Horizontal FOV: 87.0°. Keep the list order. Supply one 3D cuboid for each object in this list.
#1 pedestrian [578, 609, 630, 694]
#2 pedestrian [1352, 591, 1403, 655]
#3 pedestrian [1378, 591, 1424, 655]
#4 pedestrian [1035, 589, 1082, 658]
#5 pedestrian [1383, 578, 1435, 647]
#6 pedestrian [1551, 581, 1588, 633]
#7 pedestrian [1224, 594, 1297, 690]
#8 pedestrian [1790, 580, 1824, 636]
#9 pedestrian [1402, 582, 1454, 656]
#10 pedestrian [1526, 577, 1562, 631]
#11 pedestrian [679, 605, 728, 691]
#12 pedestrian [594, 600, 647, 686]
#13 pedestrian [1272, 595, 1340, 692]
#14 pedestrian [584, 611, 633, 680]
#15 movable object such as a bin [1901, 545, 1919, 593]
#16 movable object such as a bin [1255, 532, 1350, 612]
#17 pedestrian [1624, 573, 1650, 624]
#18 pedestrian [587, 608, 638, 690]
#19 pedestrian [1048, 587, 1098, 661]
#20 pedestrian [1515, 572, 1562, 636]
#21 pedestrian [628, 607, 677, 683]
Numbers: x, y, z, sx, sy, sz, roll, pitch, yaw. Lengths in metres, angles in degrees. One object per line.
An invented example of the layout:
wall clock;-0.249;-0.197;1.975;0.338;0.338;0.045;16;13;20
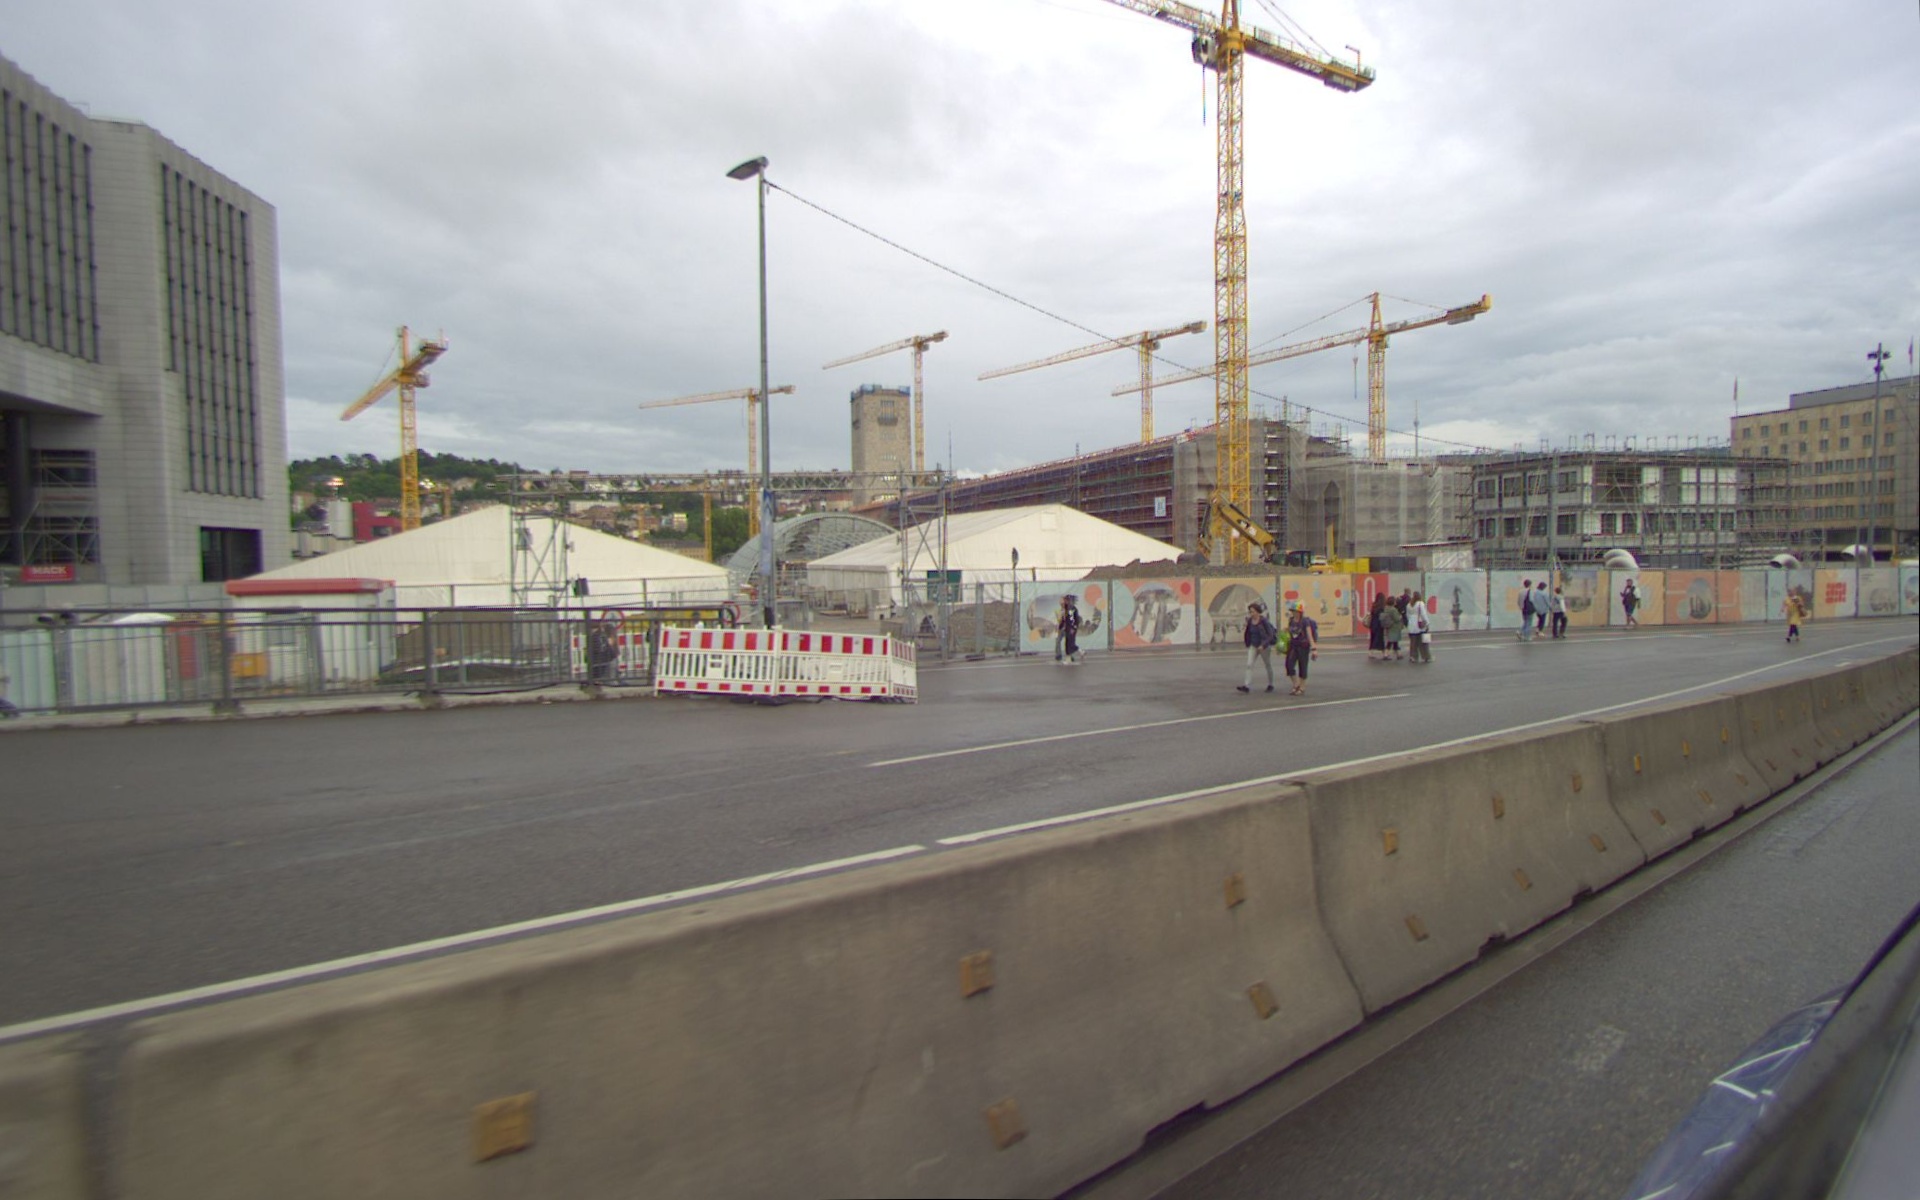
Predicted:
pedestrian;-7.269;1.035;20.689;0.897;1.657;0.728;-1;2;-12
pedestrian;10.712;0.565;25.945;0.987;1.572;0.718;-1;2;-21
pedestrian;11.027;0.557;25.313;0.867;1.541;0.612;-1;2;-21
pedestrian;2.532;0.582;26.115;0.987;1.710;0.871;-1;2;-12
pedestrian;12.472;0.330;28.132;0.987;1.840;0.871;-1;2;-21
pedestrian;19.062;0.214;31.675;0.751;1.572;0.650;-1;2;-5
pedestrian;5.312;0.714;17.925;0.932;1.613;0.865;-1;2;-13
pedestrian;25.877;0.242;30.924;0.892;1.652;0.648;-2;2;-41
pedestrian;11.494;0.447;24.876;0.872;1.744;0.781;-1;2;-21
pedestrian;18.707;0.125;32.413;0.751;1.675;0.650;-1;2;-5
pedestrian;-5.638;1.036;22.333;0.987;1.803;0.871;-1;2;-12
pedestrian;-7.438;0.931;22.192;0.987;1.805;0.775;-1;2;-12
pedestrian;5.873;0.724;17.212;0.788;1.595;0.735;-1;0;-13
pedestrian;-8.556;1.095;24.673;0.987;1.572;0.871;-1;2;-12
movable object such as a bin;54.147;-1.713;54.849;4.068;2.566;1.992;0;2;15
movable object such as a bin;15.470;-1.290;45.600;4.150;3.451;1.944;-2;2;-34
pedestrian;23.908;-0.060;35.748;0.485;1.769;0.570;-1;2;-23
pedestrian;-7.349;1.027;21.429;0.897;1.657;0.701;-1;2;-12
pedestrian;2.801;0.580;25.159;0.987;1.747;0.871;-1;2;-12
pedestrian;17.429;0.113;30.497;0.913;1.871;0.821;-1;2;-5
pedestrian;-7.037;1.011;23.187;0.987;1.657;0.871;-1;2;-12
